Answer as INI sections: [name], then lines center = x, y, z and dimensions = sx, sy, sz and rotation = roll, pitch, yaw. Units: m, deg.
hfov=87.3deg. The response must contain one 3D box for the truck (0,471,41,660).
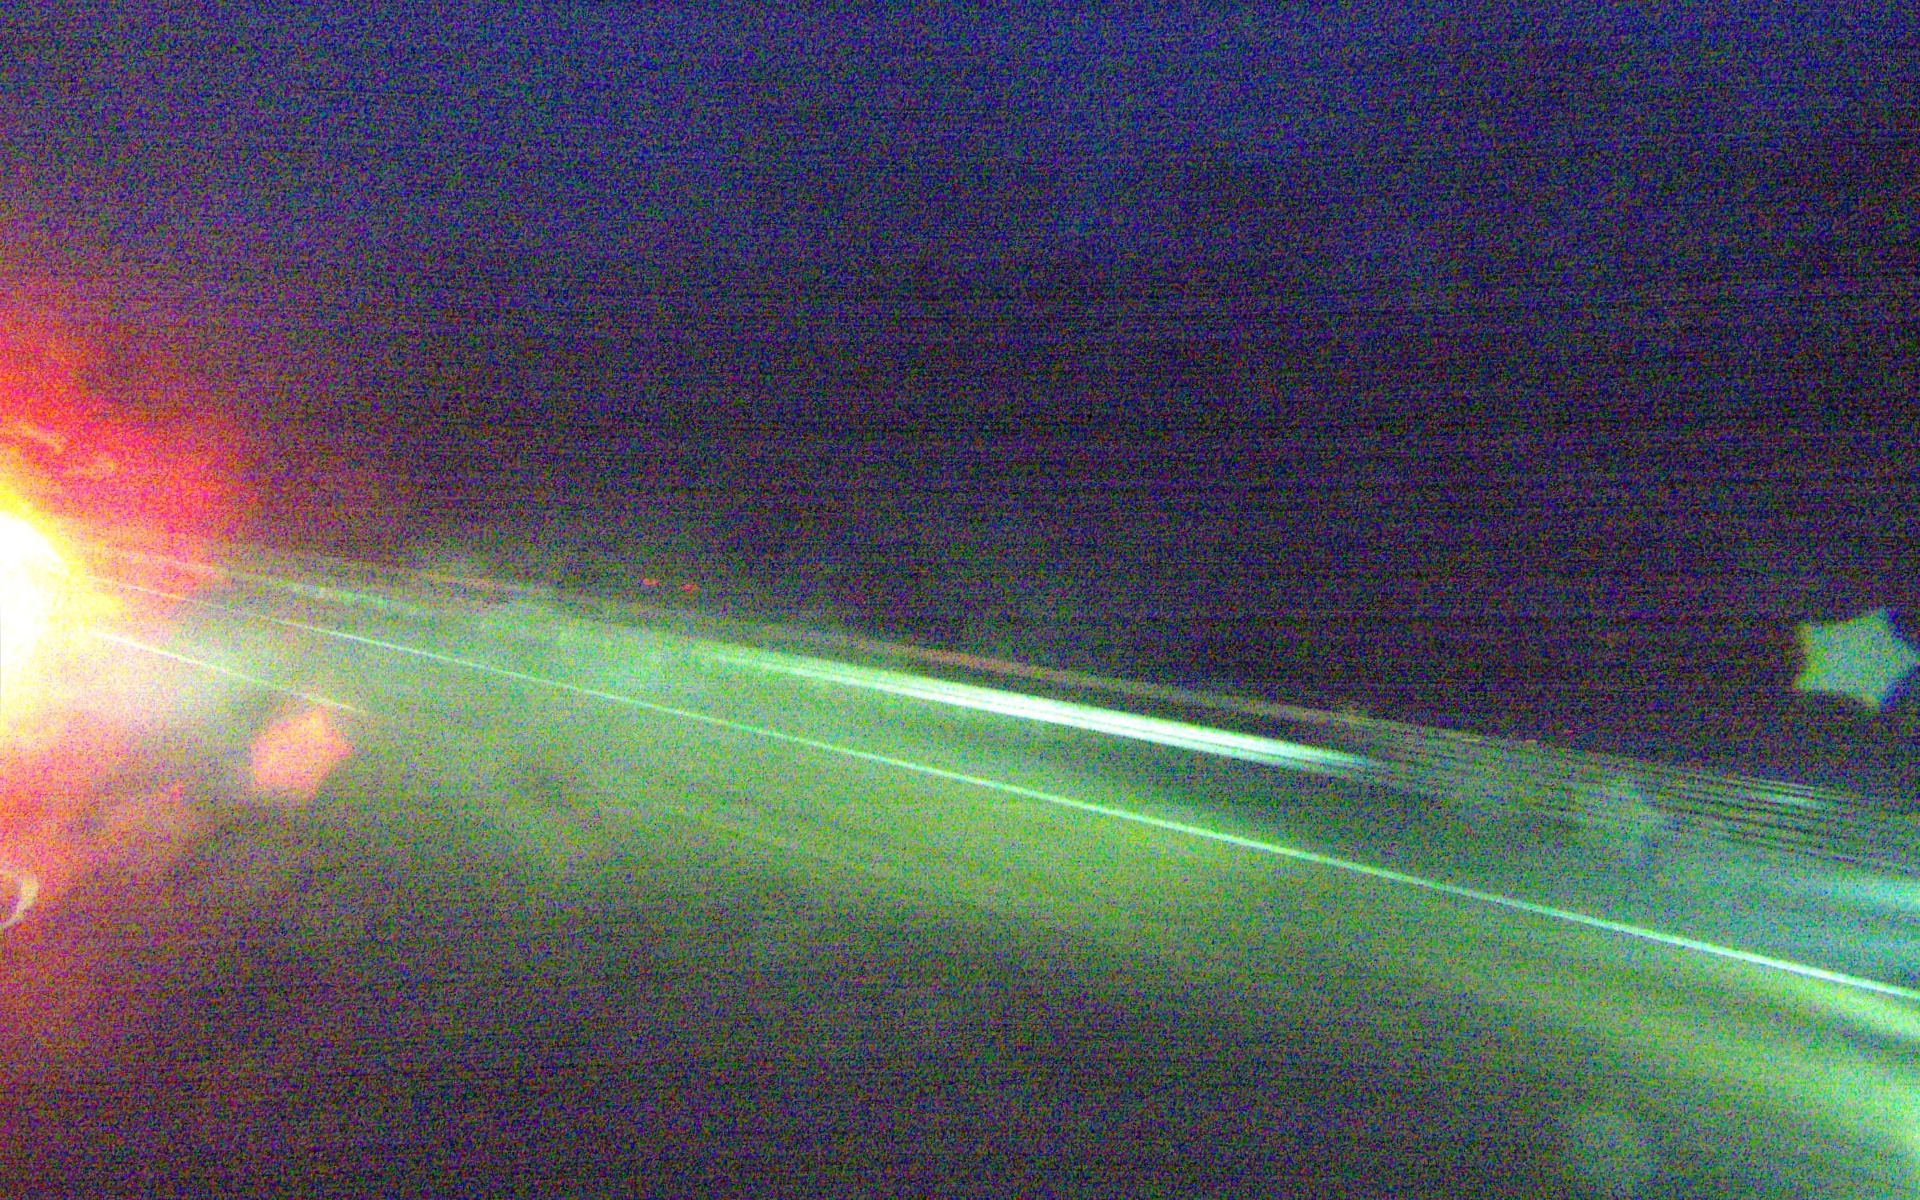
[truck]
center = -11.170, -0.613, 9.841
dimensions = 4.774, 1.716, 1.847
rotation = 7, -2, 32
